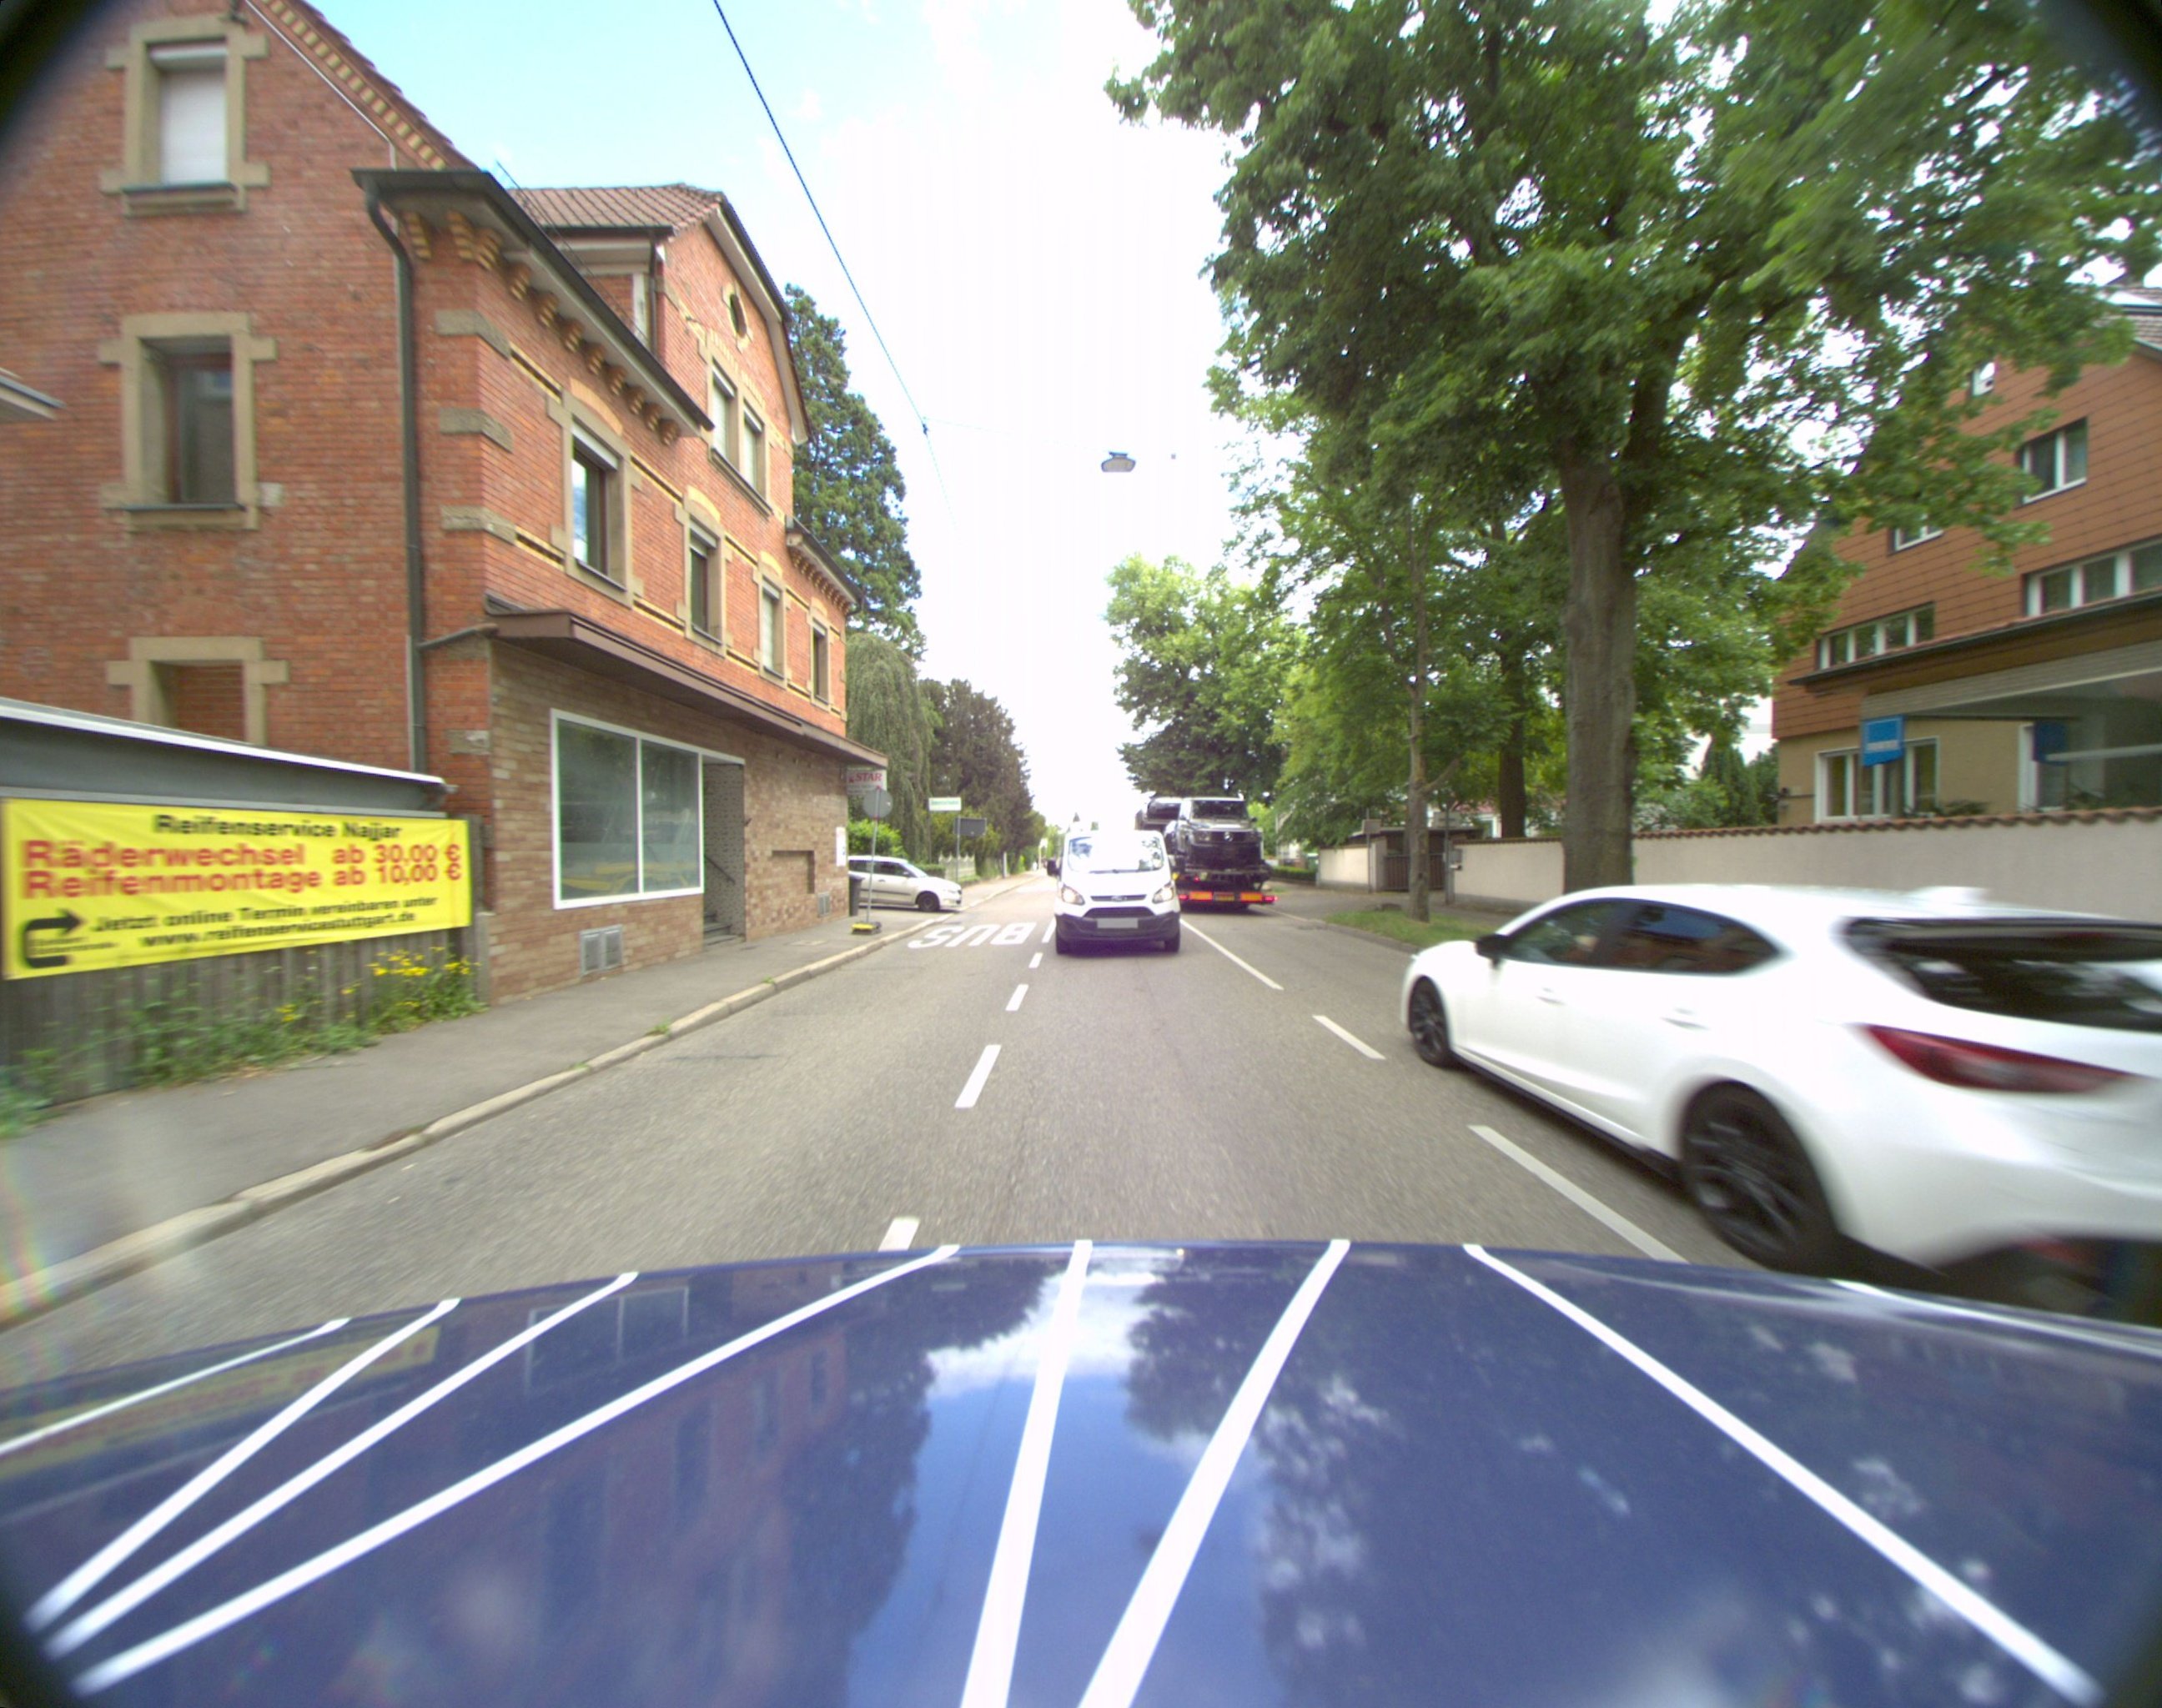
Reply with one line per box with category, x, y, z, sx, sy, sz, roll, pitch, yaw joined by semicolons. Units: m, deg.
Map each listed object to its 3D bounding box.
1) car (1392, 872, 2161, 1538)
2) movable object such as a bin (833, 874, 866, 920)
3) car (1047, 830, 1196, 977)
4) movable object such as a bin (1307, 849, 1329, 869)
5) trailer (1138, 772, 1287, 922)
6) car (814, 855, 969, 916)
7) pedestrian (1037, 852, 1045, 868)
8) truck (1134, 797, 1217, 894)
car;3.355;0.934;3.935;1.771;1.461;4.226;2;1;1
movable object such as a bin;-5.759;1.070;18.940;0.608;1.094;0.622;1;1;1
car;0.541;0.646;13.316;1.999;1.961;5.714;-2;1;0
movable object such as a bin;17.746;0.384;56.985;1.301;1.457;0.992;-2;1;1
trailer;3.916;-0.267;26.661;2.865;3.786;14.389;-2;1;1
car;-5.404;0.875;21.990;4.039;1.462;1.600;3;1;-1
pedestrian;-4.393;0.630;83.865;0.488;1.757;0.672;-1;1;32
truck;4.025;-0.380;34.121;2.851;3.761;7.668;-2;1;1
